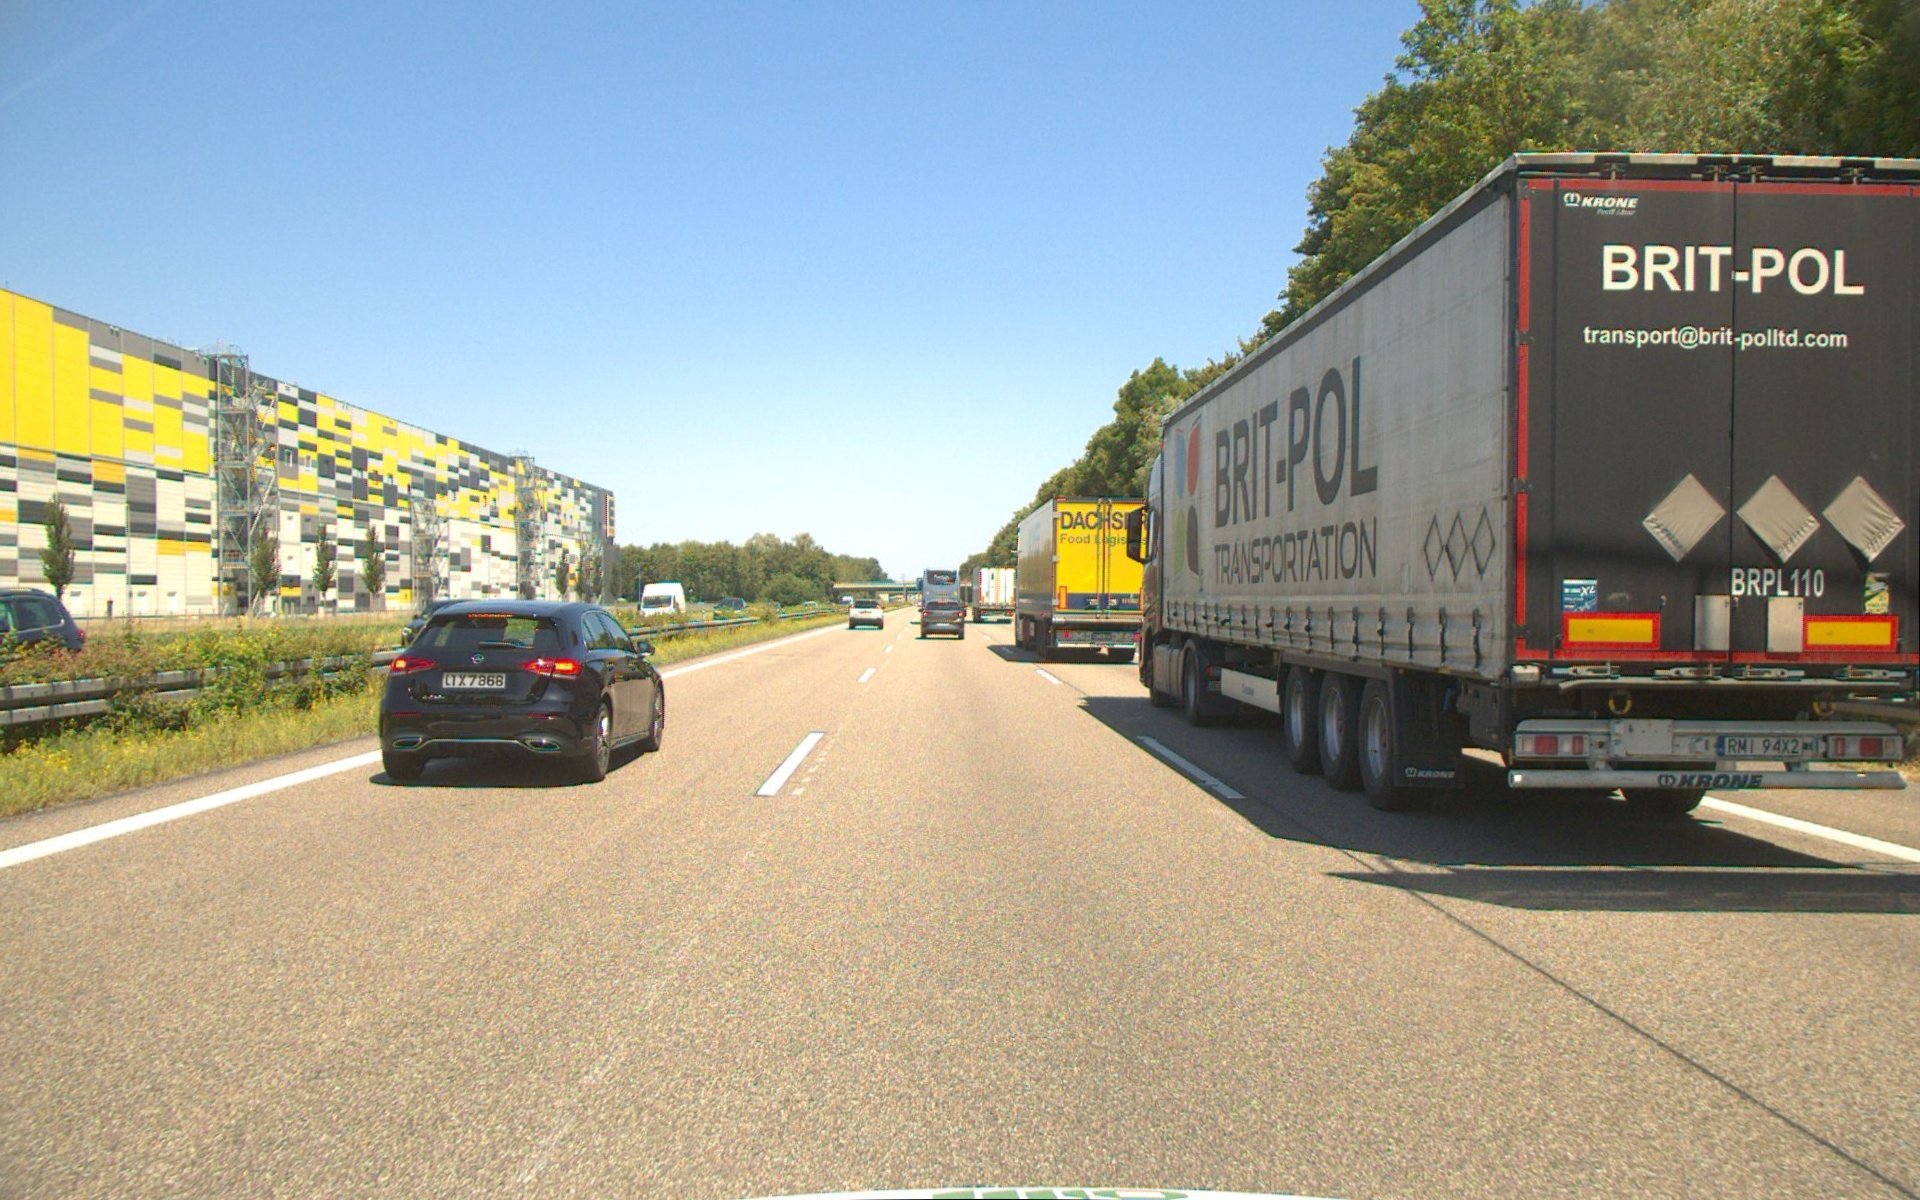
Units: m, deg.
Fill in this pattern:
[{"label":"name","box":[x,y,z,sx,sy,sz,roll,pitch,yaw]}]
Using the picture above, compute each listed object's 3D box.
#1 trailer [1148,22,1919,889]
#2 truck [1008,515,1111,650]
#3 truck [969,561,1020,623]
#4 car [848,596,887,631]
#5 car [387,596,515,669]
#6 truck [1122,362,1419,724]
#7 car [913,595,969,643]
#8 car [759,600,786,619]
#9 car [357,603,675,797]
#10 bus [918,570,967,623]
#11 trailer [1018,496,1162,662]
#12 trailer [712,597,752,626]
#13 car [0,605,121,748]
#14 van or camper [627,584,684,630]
[{"label":"trailer","box":[4.361,-0.731,16.252,3.043,4.585,14.892,1,0,-1]},{"label":"truck","box":[3.117,-0.542,53.581,2.756,4.076,6.642,0,0,-2]},{"label":"truck","box":[2.422,-0.558,119.849,3.353,4.198,9.563,-1,0,0]},{"label":"car","box":[-4.821,0.686,86.513,1.953,1.758,4.129,0,0,-2]},{"label":"car","box":[-13.577,0.828,44.401,1.986,1.809,4.841,-1,0,-1]},{"label":"truck","box":[4.211,-0.693,23.834,3.024,4.518,6.051,1,-1,-1]},{"label":"car","box":[-0.802,0.741,66.965,2.171,1.821,5.391,-1,0,-1]},{"label":"car","box":[-19.860,0.992,175.570,2.269,1.847,5.350,-1,0,-1]},{"label":"car","box":[-3.685,0.757,14.465,1.756,1.436,4.051,1,0,-1]},{"label":"bus","box":[-1.239,-0.226,111.015,3.001,3.385,8.270,-1,0,-2]},{"label":"trailer","box":[3.350,-0.525,45.849,2.777,4.023,11.680,0,0,-1]},{"label":"trailer","box":[-14.387,0.719,104.625,1.953,1.789,4.855,-1,0,-2]},{"label":"car","box":[-12.872,0.972,21.227,1.831,1.773,4.721,-1,0,-1]},{"label":"van or camper","box":[-18.205,0.419,99.108,2.373,2.578,6.173,-2,0,-2]}]
